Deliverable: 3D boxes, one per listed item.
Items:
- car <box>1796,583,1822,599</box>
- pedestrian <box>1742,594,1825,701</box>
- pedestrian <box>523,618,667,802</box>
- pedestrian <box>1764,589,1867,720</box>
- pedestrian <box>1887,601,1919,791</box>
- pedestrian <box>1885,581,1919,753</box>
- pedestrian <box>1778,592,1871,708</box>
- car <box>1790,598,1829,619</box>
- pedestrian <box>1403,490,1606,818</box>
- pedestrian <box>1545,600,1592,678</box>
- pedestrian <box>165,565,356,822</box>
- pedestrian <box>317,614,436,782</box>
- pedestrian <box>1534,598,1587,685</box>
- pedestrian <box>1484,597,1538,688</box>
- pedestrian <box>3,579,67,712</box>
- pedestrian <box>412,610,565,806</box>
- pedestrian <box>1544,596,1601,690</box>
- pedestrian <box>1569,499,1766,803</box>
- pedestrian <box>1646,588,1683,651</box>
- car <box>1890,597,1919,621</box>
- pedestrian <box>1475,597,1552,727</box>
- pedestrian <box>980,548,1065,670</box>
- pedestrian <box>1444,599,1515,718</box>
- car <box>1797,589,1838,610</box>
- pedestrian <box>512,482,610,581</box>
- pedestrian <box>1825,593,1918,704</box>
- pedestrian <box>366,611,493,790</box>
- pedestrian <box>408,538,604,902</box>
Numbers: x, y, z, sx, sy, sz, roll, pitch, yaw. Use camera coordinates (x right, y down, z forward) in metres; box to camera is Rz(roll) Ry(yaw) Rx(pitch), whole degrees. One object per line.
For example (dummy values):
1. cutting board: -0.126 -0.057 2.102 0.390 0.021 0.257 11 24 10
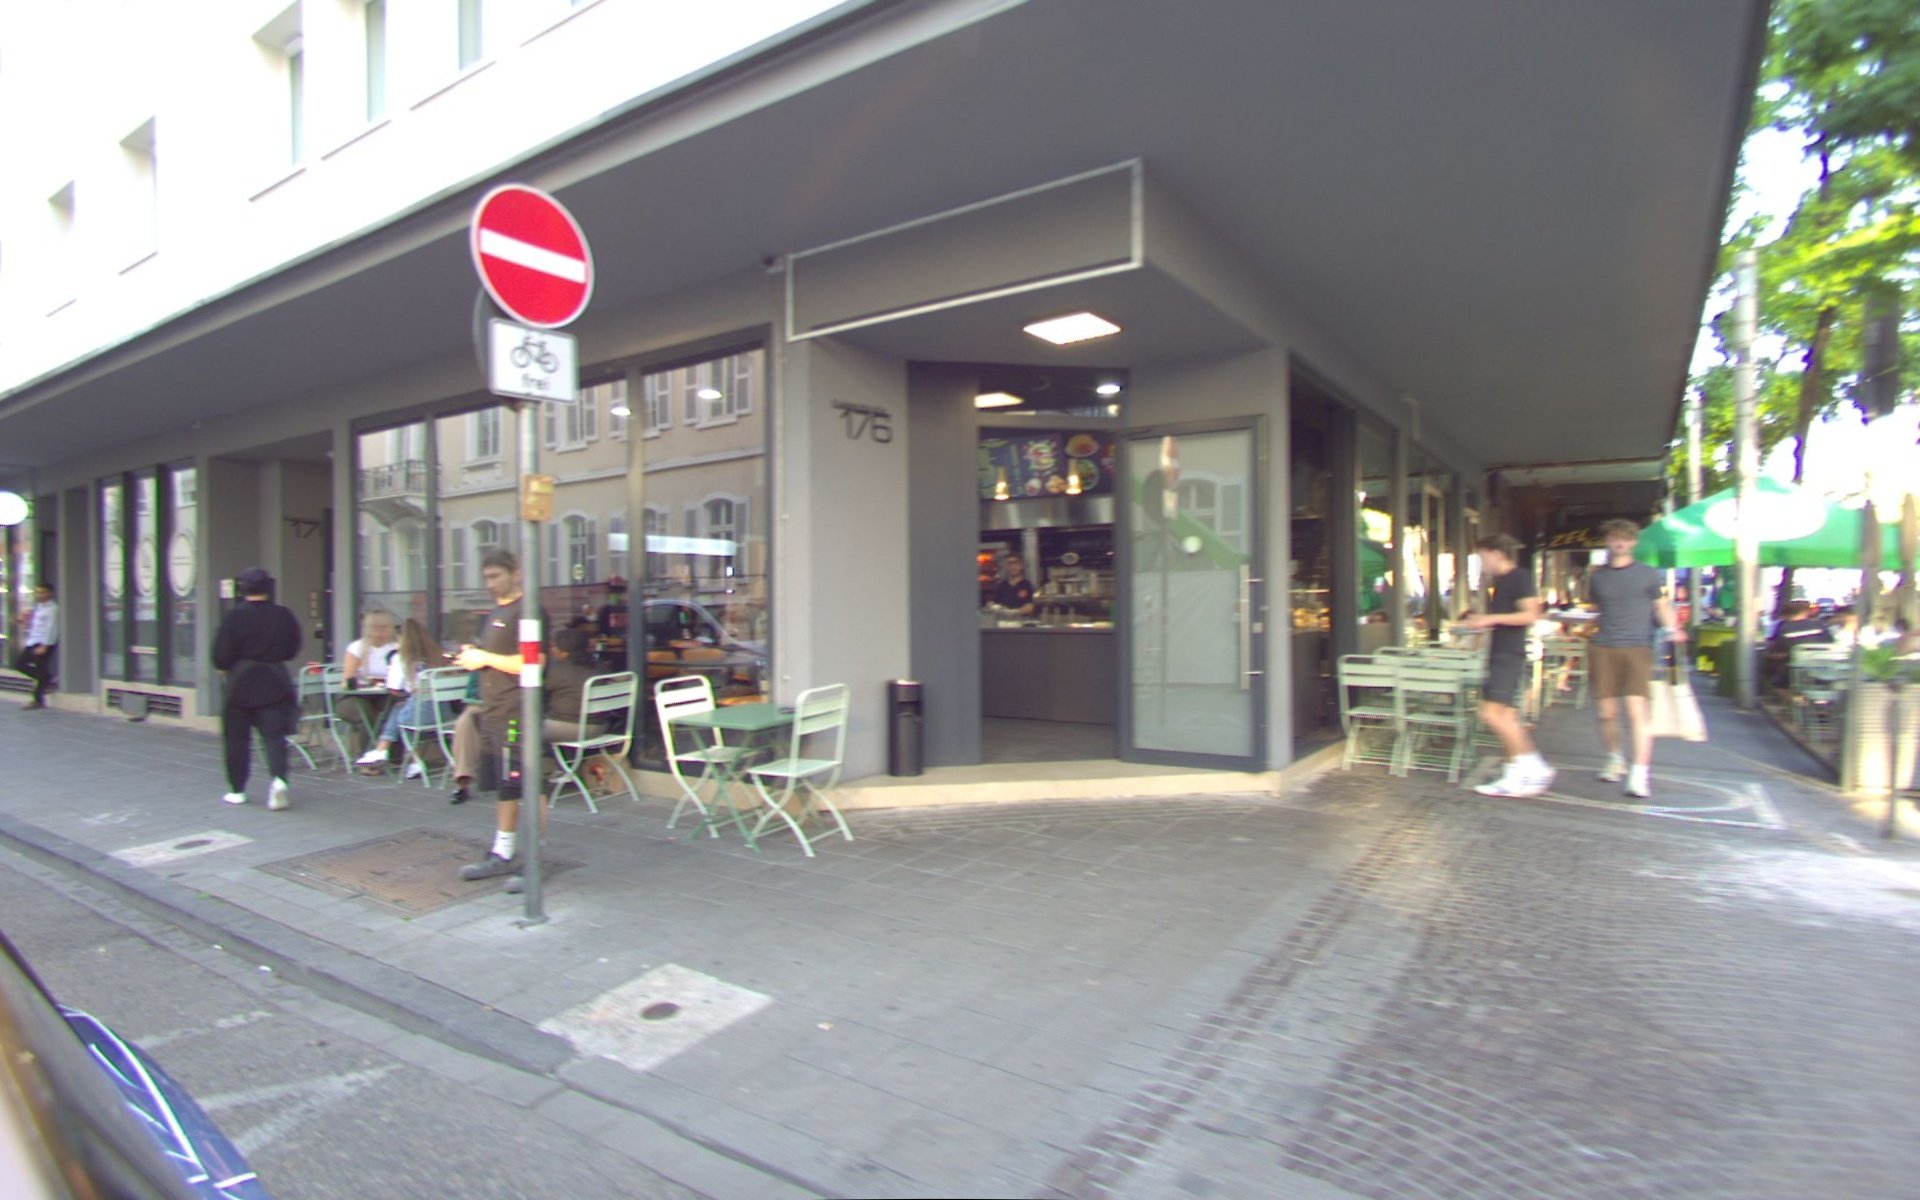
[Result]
1. car: 88.982 -0.929 106.126 1.669 1.553 3.462 -1 0 34
2. pedestrian: 11.020 0.621 13.565 0.728 1.368 0.706 -1 1 31
3. pedestrian: -2.438 0.698 6.761 0.712 1.122 0.568 -1 1 35
4. pedestrian: 9.411 0.576 11.159 0.728 1.368 0.706 -1 1 31
5. pedestrian: 7.362 0.686 7.395 0.711 1.338 0.724 -1 1 31
6. pedestrian: 8.182 0.531 8.298 0.728 1.368 0.706 -1 1 31
7. pedestrian: 10.668 0.600 12.516 0.728 1.368 0.706 -1 1 31
8. car: 64.775 0.627 77.188 1.667 1.554 3.465 -1 -1 31
9. pedestrian: 3.565 0.329 6.636 1.065 1.916 1.019 -1 -2 31
10. pedestrian: 10.422 0.656 17.338 0.651 1.269 0.667 -1 1 31
11. pedestrian: -4.947 0.605 7.171 0.899 1.680 0.790 -1 1 33
12. pedestrian: -4.809 0.776 8.343 0.712 1.285 0.568 -1 1 35
13. pedestrian: 9.094 0.619 15.335 0.651 1.269 0.667 -1 1 31
14. pedestrian: 8.066 0.612 14.802 0.651 1.269 0.667 -1 1 31
15. pedestrian: -13.240 0.644 14.490 0.560 1.848 0.527 -1 -1 28
16. pedestrian: -3.369 0.733 7.249 0.712 1.285 0.696 -1 1 35
17. pedestrian: 8.679 0.601 14.367 0.651 1.269 0.667 -1 1 31
18. pedestrian: 4.903 0.336 7.118 1.026 1.916 1.057 -1 -2 31
19. pedestrian: 18.487 0.507 26.557 0.707 1.619 0.871 -1 -1 31
20. car: 61.302 0.568 64.924 1.667 1.554 3.465 -1 -1 31
21. pedestrian: 5.711 0.617 10.439 0.651 1.269 0.667 -1 1 31
22. pedestrian: 0.683 0.090 10.988 0.651 1.269 0.667 -1 1 31
23. pedestrian: 5.840 0.636 11.364 0.651 1.269 0.667 -1 1 31
24. car: 71.760 -0.041 84.694 1.923 1.653 3.684 -1 -1 30
25. pedestrian: -9.588 -1.560 24.617 1.966 2.029 4.012 0 -1 -18
26. pedestrian: 11.698 0.606 13.011 0.728 1.368 0.706 -1 1 31
27. pedestrian: -4.085 0.740 7.795 0.712 1.285 0.568 -1 1 35
28. pedestrian: -2.214 0.558 4.979 0.680 1.680 0.505 -1 1 10
